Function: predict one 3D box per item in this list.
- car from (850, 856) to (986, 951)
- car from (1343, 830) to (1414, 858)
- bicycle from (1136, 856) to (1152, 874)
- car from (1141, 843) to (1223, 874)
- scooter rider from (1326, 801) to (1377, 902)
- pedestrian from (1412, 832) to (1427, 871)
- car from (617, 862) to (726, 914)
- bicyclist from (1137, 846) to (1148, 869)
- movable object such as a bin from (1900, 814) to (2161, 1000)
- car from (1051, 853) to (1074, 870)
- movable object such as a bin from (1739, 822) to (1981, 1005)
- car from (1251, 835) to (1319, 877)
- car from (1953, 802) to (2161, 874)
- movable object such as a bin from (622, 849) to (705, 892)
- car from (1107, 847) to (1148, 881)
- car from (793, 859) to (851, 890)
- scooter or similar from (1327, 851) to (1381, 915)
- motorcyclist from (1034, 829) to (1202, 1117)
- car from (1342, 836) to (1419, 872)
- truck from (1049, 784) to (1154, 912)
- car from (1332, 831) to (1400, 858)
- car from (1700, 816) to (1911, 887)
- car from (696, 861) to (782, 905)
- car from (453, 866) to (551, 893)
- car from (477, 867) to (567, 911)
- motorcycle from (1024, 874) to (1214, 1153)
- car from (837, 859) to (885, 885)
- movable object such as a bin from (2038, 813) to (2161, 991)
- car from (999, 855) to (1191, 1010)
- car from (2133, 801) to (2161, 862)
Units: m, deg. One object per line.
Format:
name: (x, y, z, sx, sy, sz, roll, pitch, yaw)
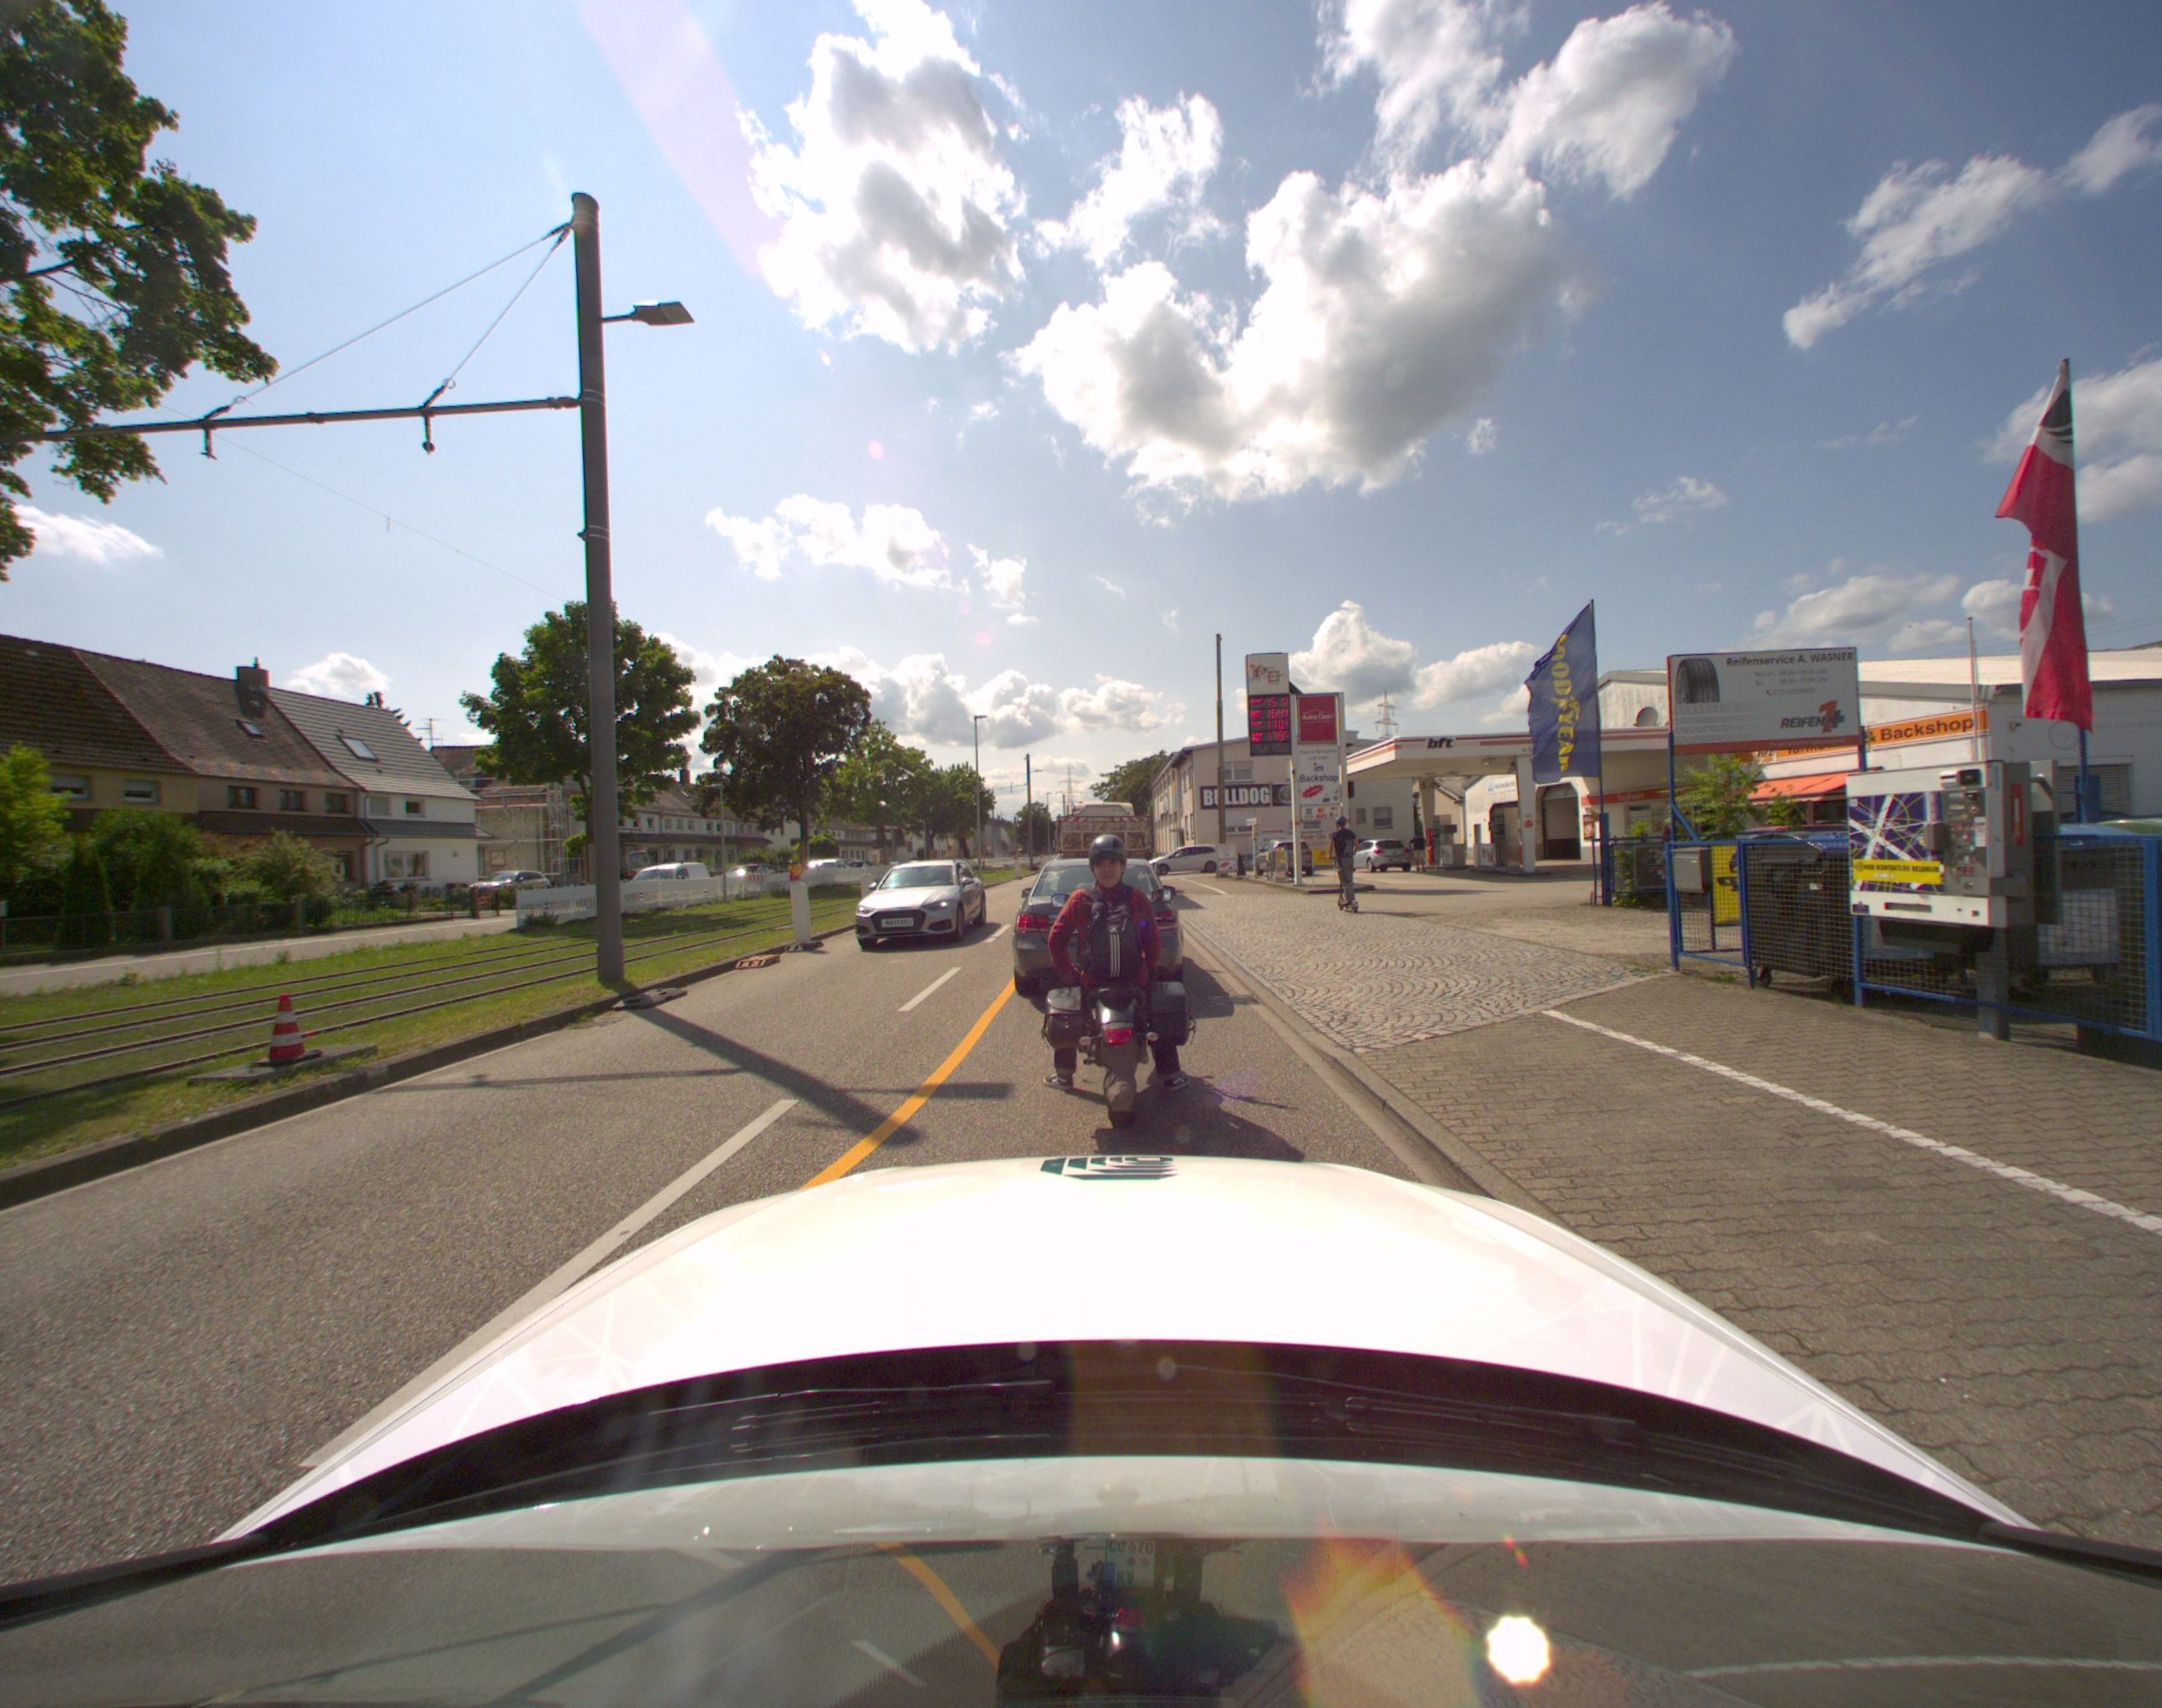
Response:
car: (-2.925, 0.818, 15.536, 1.649, 1.447, 4.302, -3, 0, 0)
car: (19.729, -0.654, 54.092, 3.973, 1.648, 1.966, -3, -1, 1)
bicycle: (4.942, 0.851, 63.458, 0.687, 1.361, 2.429, -3, 0, 16)
car: (5.803, 0.267, 47.213, 4.326, 1.551, 1.945, -3, -1, -7)
scooter rider: (5.489, -0.046, 16.555, 0.714, 1.963, 0.785, -3, -1, 1)
pedestrian: (14.735, -0.101, 35.445, 0.395, 1.689, 0.486, -3, -1, 3)
car: (-15.540, 1.250, 31.159, 1.986, 1.750, 4.001, -3, -1, 2)
bicyclist: (4.807, 0.269, 63.308, 0.666, 1.744, 0.817, -2, 0, 15)
movable object such as a bin: (8.128, 0.431, 6.999, 1.251, 1.444, 0.824, -3, -1, 2)
car: (-1.637, 0.690, 74.120, 1.840, 1.386, 4.345, -3, -1, 1)
movable object such as a bin: (6.761, 0.494, 7.136, 1.251, 1.444, 0.824, -3, -1, 2)
car: (9.048, 0.105, 36.471, 1.953, 1.648, 3.999, -3, -1, 0)
car: (21.861, -0.358, 17.929, 3.483, 1.360, 1.612, -3, -1, 1)
movable object such as a bin: (-26.077, 1.008, 51.070, 4.351, 2.449, 1.776, -3, 0, -21)
car: (2.189, 0.445, 39.011, 1.814, 1.464, 4.002, -2, 0, 2)
car: (-15.195, 1.174, 47.977, 1.986, 1.606, 4.001, -3, -1, 2)
scooter or similar: (5.494, 0.567, 16.483, 0.538, 1.195, 1.611, -3, -1, 1)
motorcyclist: (0.227, 0.670, 5.179, 0.936, 1.615, 1.205, 0, 0, 1)
car: (13.566, 0.013, 37.099, 1.953, 1.420, 3.999, -3, -1, 0)
truck: (0.742, -0.215, 26.174, 2.600, 3.255, 9.188, -3, 1, 2)
car: (19.803, -0.643, 56.638, 3.973, 1.648, 1.966, -3, -1, 1)
car: (16.456, -0.053, 18.609, 3.308, 1.360, 1.612, -3, -1, 1)
car: (-15.262, 1.265, 36.595, 1.986, 1.750, 4.001, -3, -1, 2)
car: (-27.389, 1.180, 38.716, 1.678, 1.052, 3.982, -3, 0, 2)
car: (-24.396, 1.491, 35.661, 1.678, 1.722, 3.031, -3, -1, 2)
motorcycle: (0.231, 0.823, 5.360, 0.936, 1.320, 2.646, 0, 0, 2)
car: (-14.962, 1.224, 55.622, 1.986, 1.606, 4.001, -3, -1, 2)
movable object such as a bin: (9.450, 0.370, 7.000, 1.318, 1.444, 0.953, -3, -1, -6)
car: (0.197, 0.760, 9.838, 1.815, 1.424, 4.002, -2, 0, 2)
car: (26.370, -0.622, 17.983, 3.992, 1.388, 1.613, -3, -1, 3)
